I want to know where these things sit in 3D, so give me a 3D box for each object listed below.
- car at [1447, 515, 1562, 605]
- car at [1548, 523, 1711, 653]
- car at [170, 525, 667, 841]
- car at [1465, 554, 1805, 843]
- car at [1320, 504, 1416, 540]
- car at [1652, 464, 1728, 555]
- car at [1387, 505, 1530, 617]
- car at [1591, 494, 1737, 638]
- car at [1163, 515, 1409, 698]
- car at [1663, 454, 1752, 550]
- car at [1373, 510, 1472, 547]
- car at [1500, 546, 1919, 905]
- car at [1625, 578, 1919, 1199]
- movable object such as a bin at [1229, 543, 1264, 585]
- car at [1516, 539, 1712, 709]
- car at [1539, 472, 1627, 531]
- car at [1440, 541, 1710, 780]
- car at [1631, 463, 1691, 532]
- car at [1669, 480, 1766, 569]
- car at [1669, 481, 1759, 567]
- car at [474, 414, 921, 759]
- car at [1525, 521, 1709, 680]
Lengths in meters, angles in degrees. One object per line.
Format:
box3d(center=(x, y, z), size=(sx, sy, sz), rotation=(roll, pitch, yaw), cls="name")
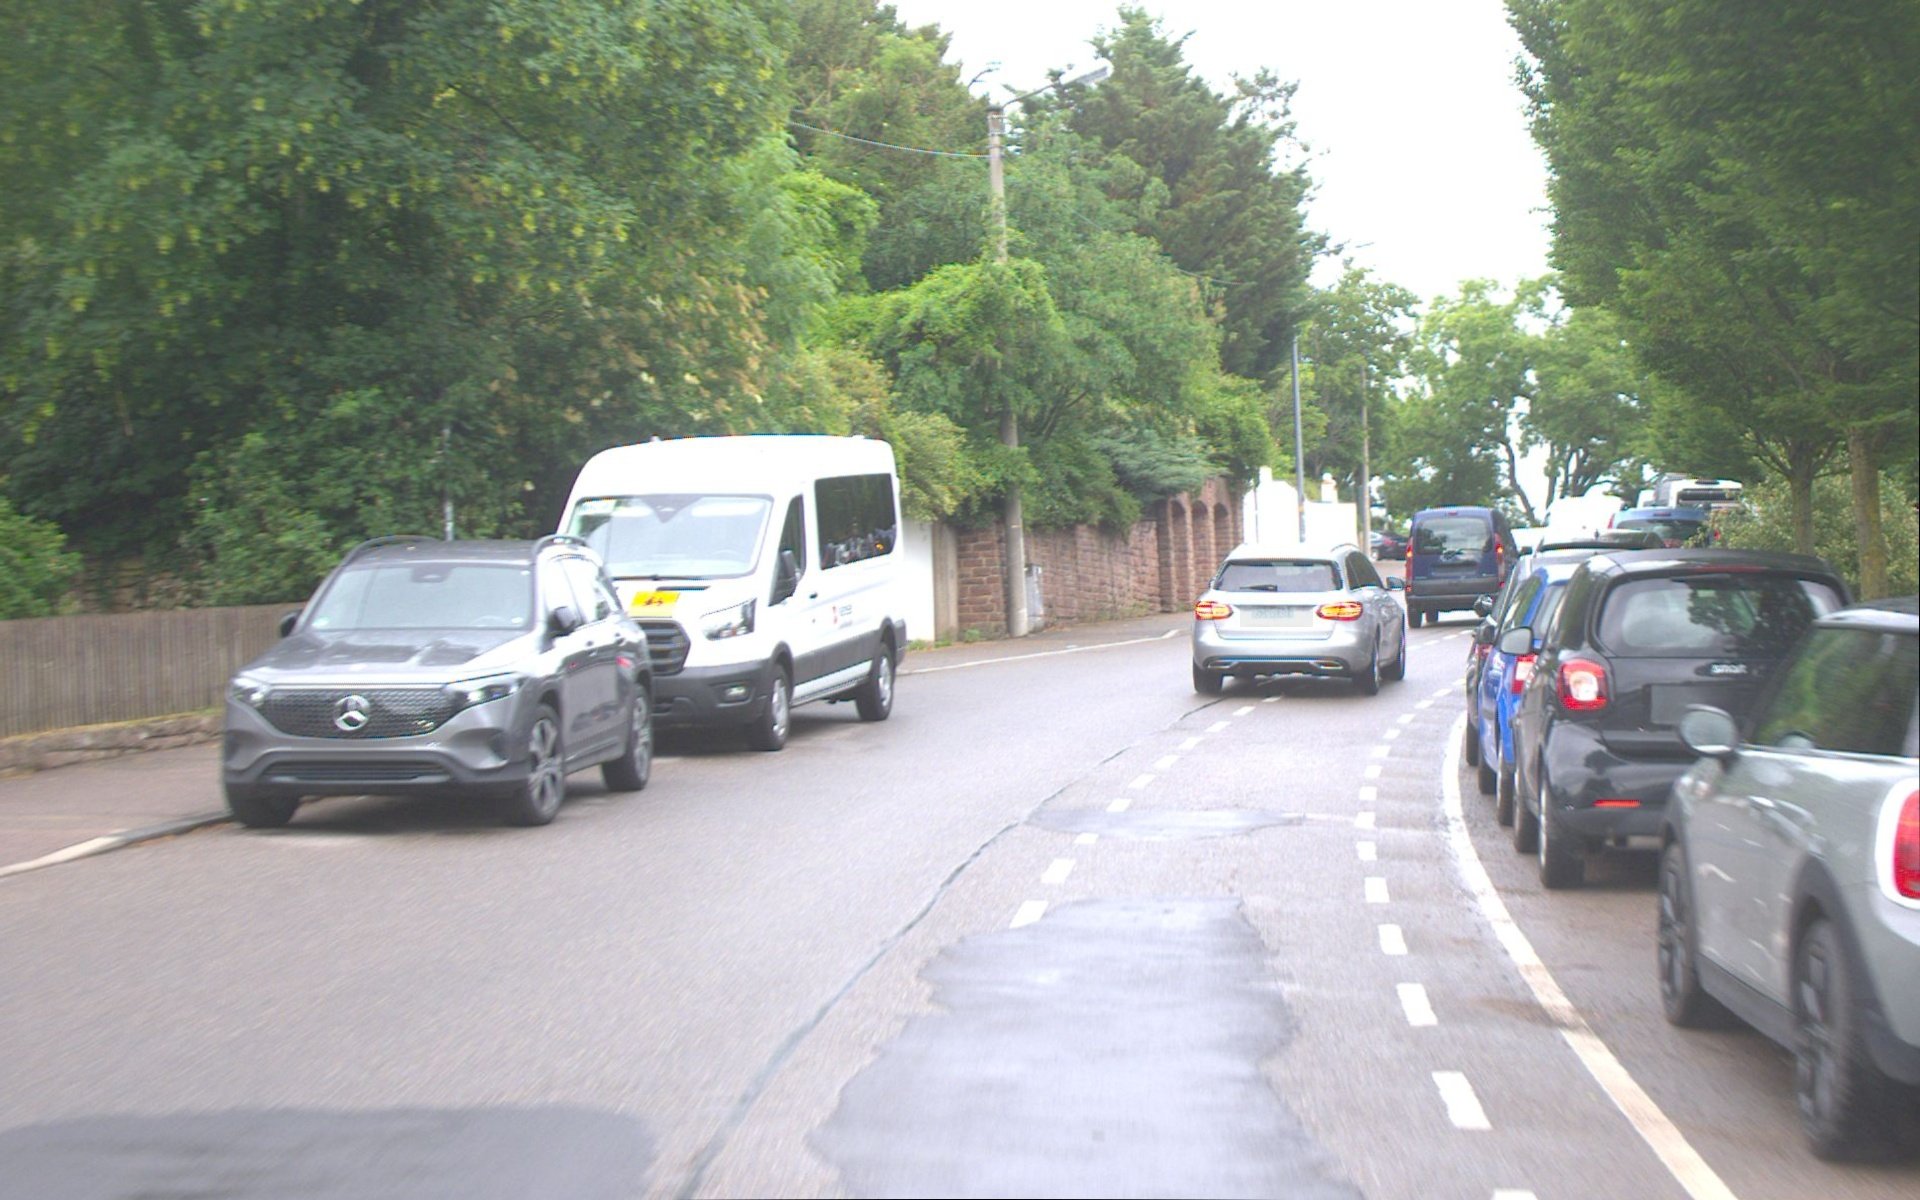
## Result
box3d(center=(10.769, -0.791, 67.819), size=(1.994, 1.702, 3.998), rotation=(0, 1, 12), cls="car")
box3d(center=(8.227, -0.185, 42.020), size=(1.650, 1.476, 4.017), rotation=(0, 2, 16), cls="car")
box3d(center=(-3.164, 0.410, 21.094), size=(1.896, 1.685, 4.545), rotation=(-2, 1, 5), cls="car")
box3d(center=(3.933, 0.503, 20.554), size=(1.654, 1.514, 3.999), rotation=(0, 1, 6), cls="car")
box3d(center=(19.678, -3.775, 165.920), size=(1.964, 1.692, 4.670), rotation=(-1, 2, -35), cls="car")
box3d(center=(23.639, -2.957, 111.504), size=(2.125, 2.877, 5.767), rotation=(0, 2, 9), cls="car")
box3d(center=(7.831, -0.617, 54.316), size=(1.994, 1.702, 3.999), rotation=(0, 1, 5), cls="car")
box3d(center=(9.655, -0.511, 46.935), size=(1.779, 1.845, 4.422), rotation=(0, 2, 14), cls="car")
box3d(center=(3.317, 0.043, 34.270), size=(2.026, 1.702, 4.213), rotation=(0, 1, 11), cls="car")
box3d(center=(20.099, -2.649, 92.686), size=(2.174, 2.484, 6.031), rotation=(1, 2, 11), cls="car")
box3d(center=(21.877, -3.388, 162.674), size=(1.965, 1.692, 4.495), rotation=(-1, 2, -39), cls="car")
box3d(center=(3.517, 0.524, 16.576), size=(1.627, 1.557, 3.022), rotation=(0, 1, 6), cls="car")
box3d(center=(3.001, 0.699, 9.892), size=(1.668, 1.466, 3.710), rotation=(1, 1, 4), cls="car")
box3d(center=(6.428, -0.811, 77.040), size=(0.658, 0.916, 0.677), rotation=(-1, 1, 14), cls="movable object such as a bin")
box3d(center=(6.100, 0.169, 31.985), size=(1.643, 1.419, 4.286), rotation=(1, 2, 11), cls="car")
box3d(center=(27.249, -4.318, 150.513), size=(2.125, 2.518, 4.498), rotation=(0, 2, -14), cls="car")
box3d(center=(4.558, 0.365, 25.543), size=(1.776, 1.547, 4.726), rotation=(1, 2, 10), cls="car")
box3d(center=(25.897, -3.793, 127.140), size=(2.065, 2.485, 4.758), rotation=(1, 2, 11), cls="car")
box3d(center=(15.891, -1.609, 72.287), size=(1.781, 1.777, 4.677), rotation=(-1, 2, 10), cls="car")
box3d(center=(18.651, -1.893, 85.187), size=(1.994, 2.045, 5.119), rotation=(0, 1, 10), cls="car")
box3d(center=(-2.012, -0.185, 28.752), size=(2.095, 2.541, 6.095), rotation=(-1, 2, 11), cls="car")
box3d(center=(7.136, -0.047, 37.091), size=(1.715, 1.550, 4.161), rotation=(1, 2, 14), cls="car")
